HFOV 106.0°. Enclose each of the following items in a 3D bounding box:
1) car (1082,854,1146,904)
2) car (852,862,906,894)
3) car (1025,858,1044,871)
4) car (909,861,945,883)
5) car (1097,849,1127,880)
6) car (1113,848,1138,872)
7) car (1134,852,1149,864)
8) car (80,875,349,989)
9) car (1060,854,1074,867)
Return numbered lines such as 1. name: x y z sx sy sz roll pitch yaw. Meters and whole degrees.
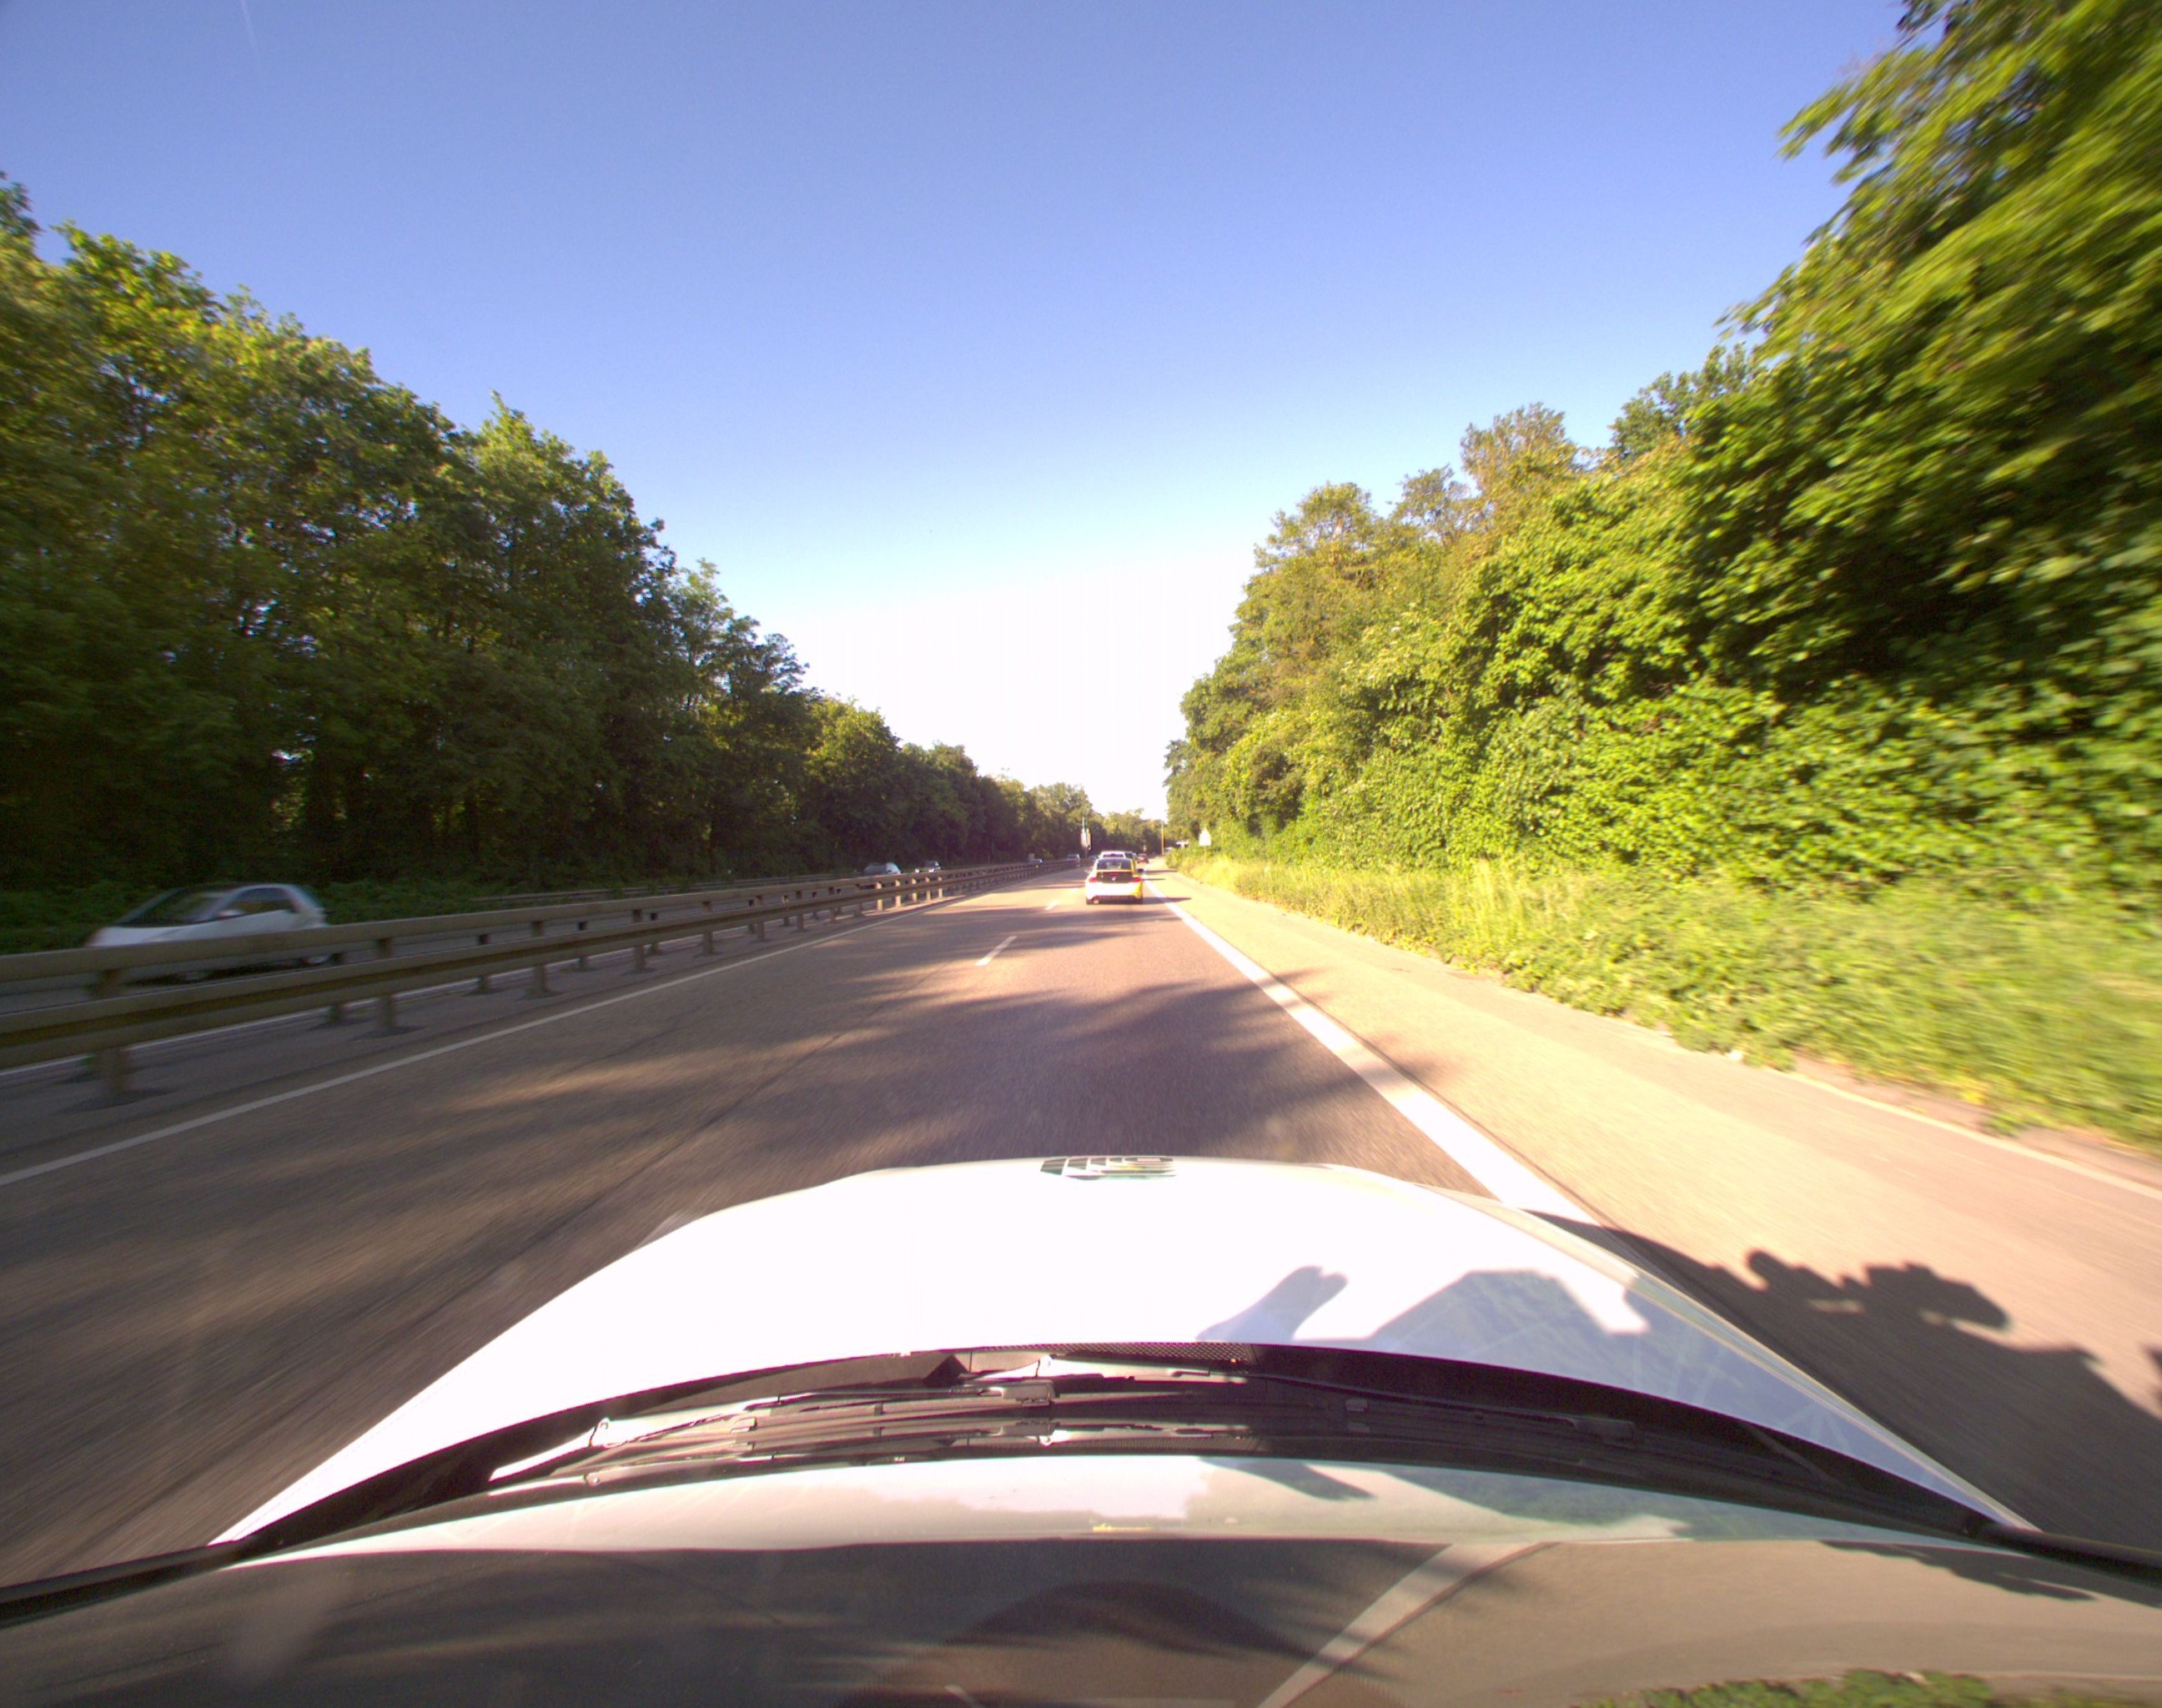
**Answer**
1. car: 1.092 0.760 26.407 1.931 1.508 3.425 -1 0 3
2. car: -12.465 1.427 50.500 1.986 1.750 4.553 -3 0 2
3. car: -5.489 1.218 96.937 1.590 1.453 4.350 -3 0 4
4. car: -12.441 1.395 66.016 1.986 1.585 4.002 -3 0 2
5. car: 1.921 0.617 49.168 1.734 1.830 3.425 -1 0 3
6. car: 3.973 0.500 73.228 1.987 2.013 4.000 -3 0 1
7. car: 9.759 0.558 131.161 2.253 1.875 5.083 0 0 5
8. car: -14.554 1.236 13.895 1.408 1.619 2.876 -2 0 2
9. car: -2.241 1.018 133.003 1.880 1.903 5.420 -3 0 3
